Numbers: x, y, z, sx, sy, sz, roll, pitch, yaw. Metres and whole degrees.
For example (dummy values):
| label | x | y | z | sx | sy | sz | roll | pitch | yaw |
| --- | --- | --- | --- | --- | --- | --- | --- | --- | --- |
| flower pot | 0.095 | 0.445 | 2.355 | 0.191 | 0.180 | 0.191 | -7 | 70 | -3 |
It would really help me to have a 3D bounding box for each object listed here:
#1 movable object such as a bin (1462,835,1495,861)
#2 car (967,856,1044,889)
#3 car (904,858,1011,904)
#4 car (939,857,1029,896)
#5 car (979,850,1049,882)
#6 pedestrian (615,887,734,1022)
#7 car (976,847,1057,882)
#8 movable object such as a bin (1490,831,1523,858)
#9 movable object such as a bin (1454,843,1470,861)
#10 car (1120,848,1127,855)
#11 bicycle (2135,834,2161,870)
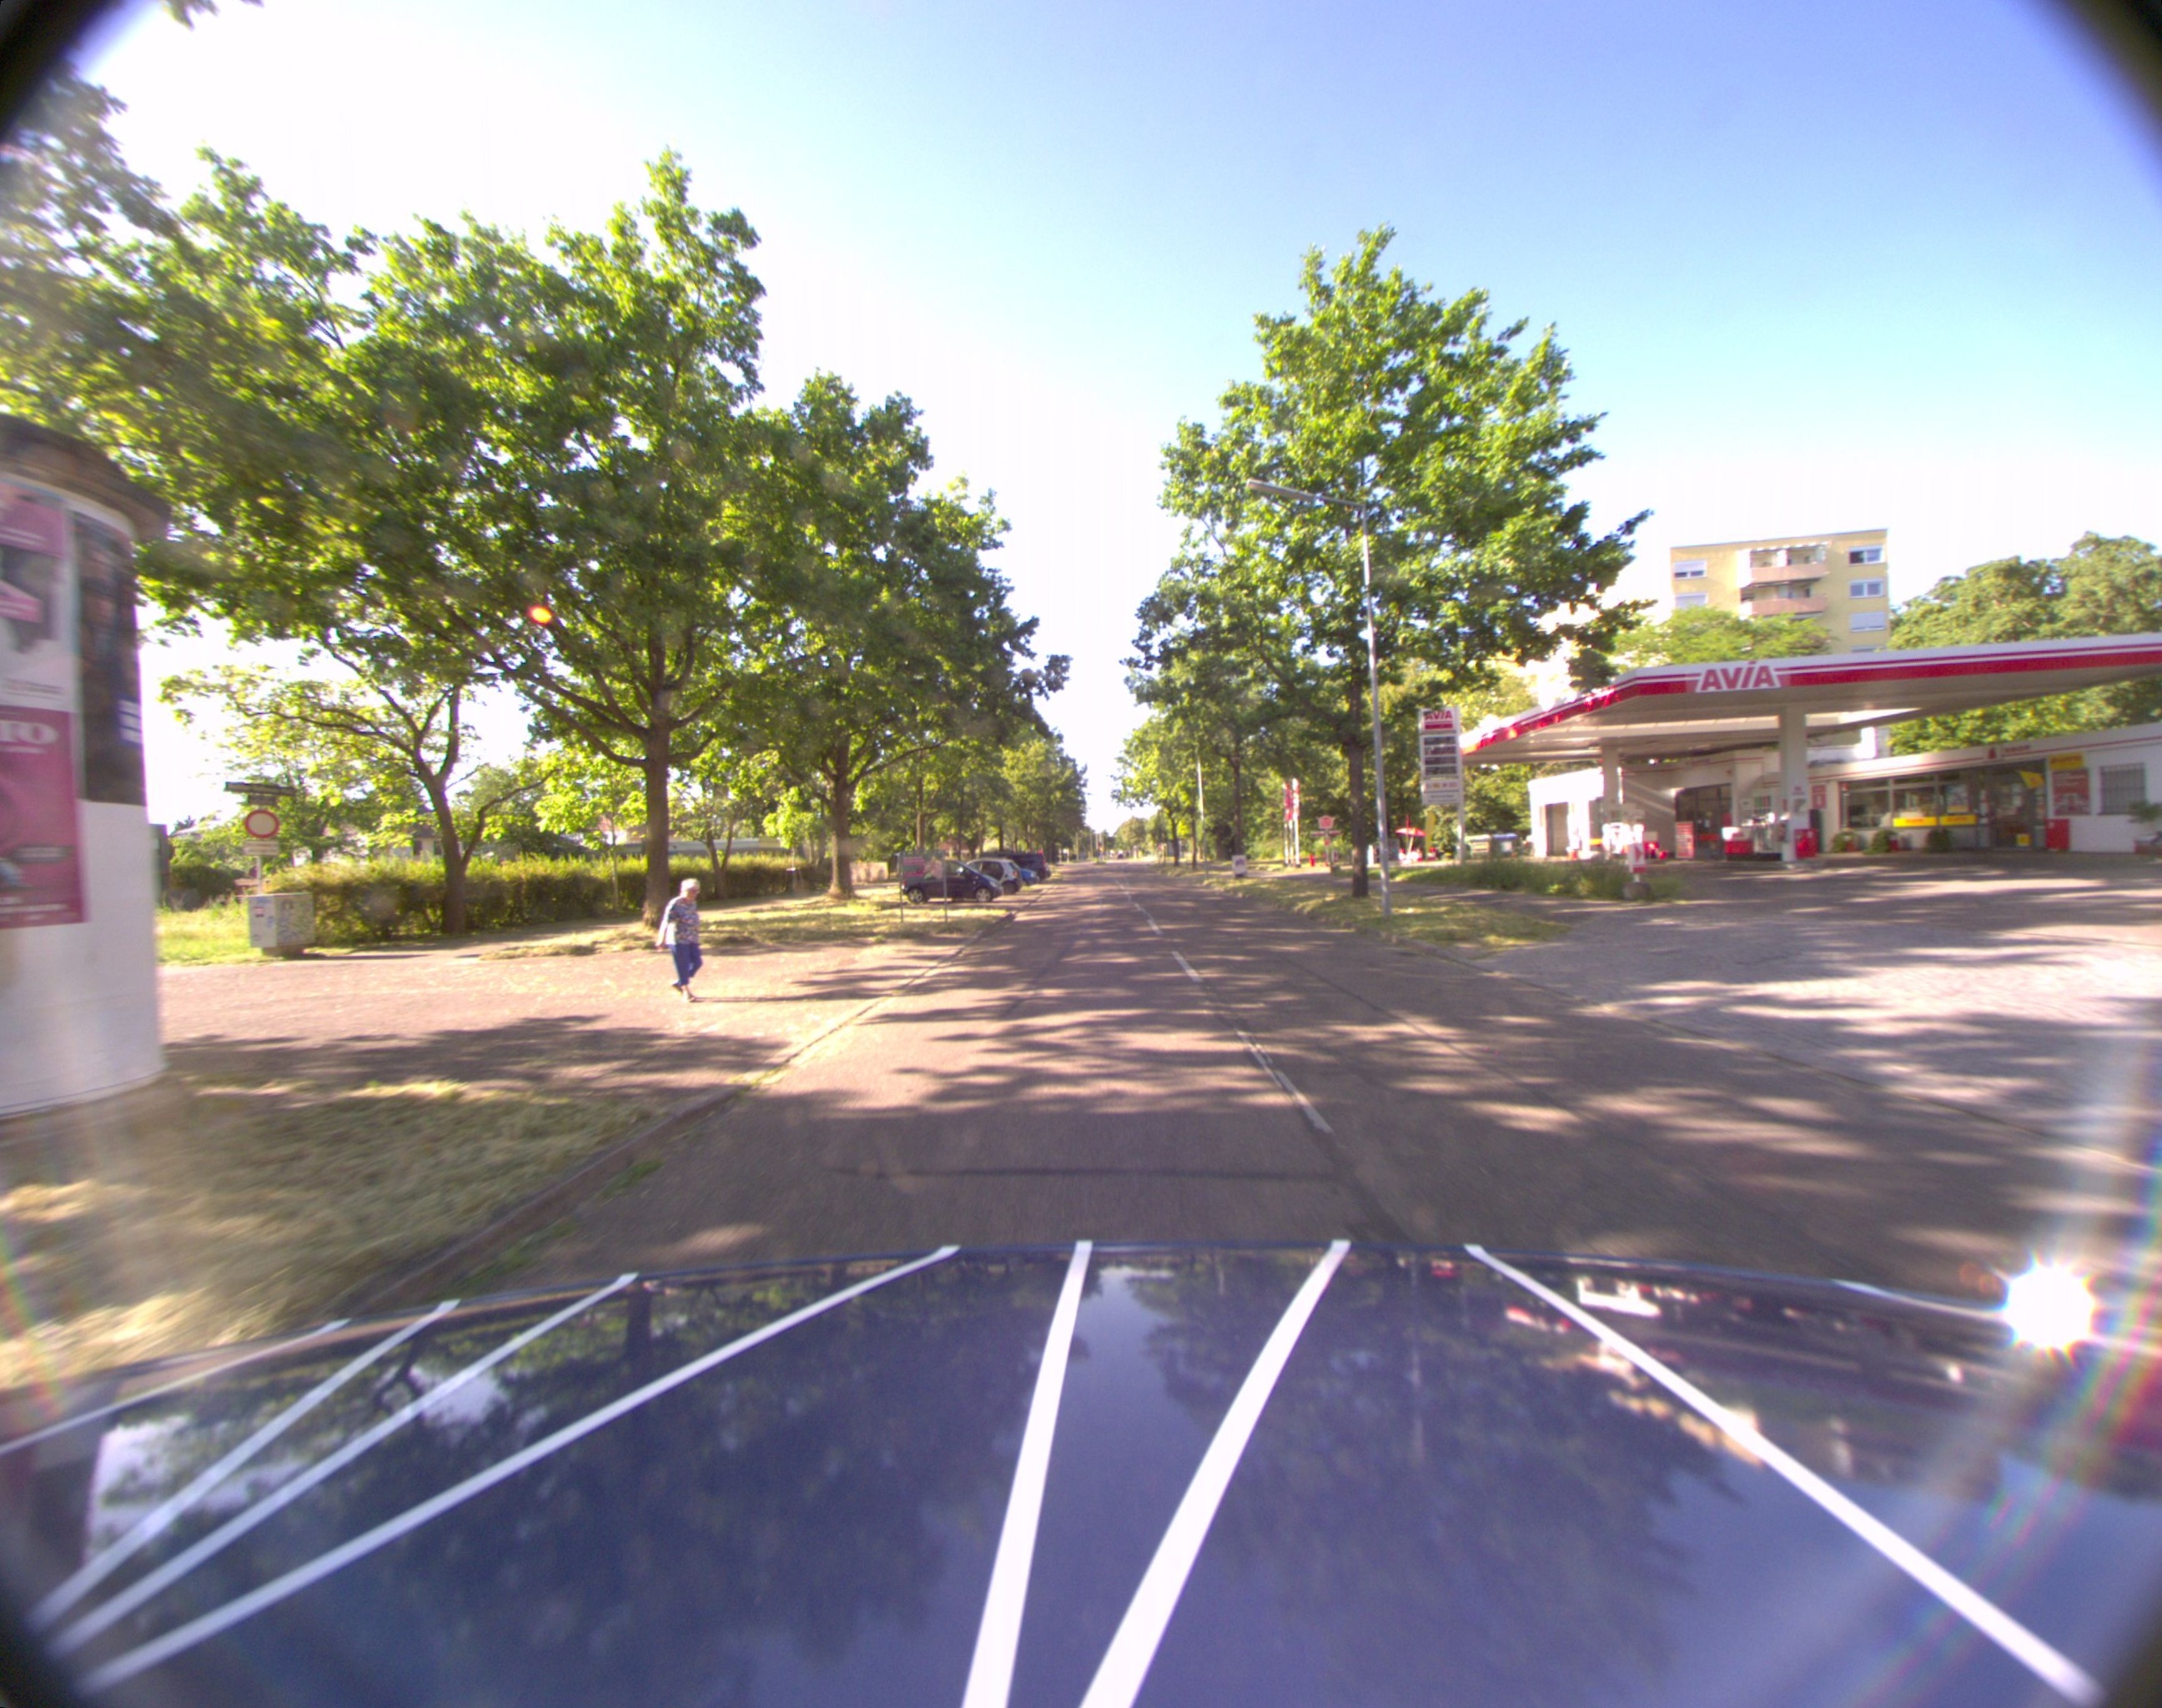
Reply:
| label | x | y | z | sx | sy | sz | roll | pitch | yaw |
| --- | --- | --- | --- | --- | --- | --- | --- | --- | --- |
| movable object such as a bin | 24.063 | -0.371 | 45.972 | 1.307 | 1.533 | 1.268 | -2 | 1 | 2 |
| car | -3.686 | 0.907 | 37.535 | 3.529 | 1.523 | 1.665 | -1 | 1 | 3 |
| car | -4.480 | 0.956 | 27.940 | 3.592 | 1.567 | 1.857 | -1 | 1 | 0 |
| car | -4.158 | 0.939 | 32.869 | 3.592 | 1.567 | 1.786 | -1 | 1 | 3 |
| car | -3.928 | 0.717 | 45.299 | 4.019 | 1.826 | 1.799 | -1 | 1 | -2 |
| pedestrian | -4.938 | 1.167 | 9.243 | 0.941 | 1.491 | 0.887 | -1 | 0 | 30 |
| car | -3.991 | 0.651 | 47.667 | 4.815 | 2.020 | 1.944 | -1 | 1 | 1 |
| movable object such as a bin | 25.672 | -0.580 | 45.839 | 1.307 | 1.533 | 1.164 | -4 | 1 | 2 |
| movable object such as a bin | 23.080 | -0.105 | 46.088 | 0.570 | 1.079 | 0.768 | -2 | 1 | 2 |
| car | 12.857 | -0.647 | 231.518 | 1.904 | 2.082 | 3.641 | 0 | 0 | 1 |
| bicycle | 25.015 | -0.038 | 17.054 | 0.618 | 0.802 | 1.782 | -2 | 0 | 16 |
